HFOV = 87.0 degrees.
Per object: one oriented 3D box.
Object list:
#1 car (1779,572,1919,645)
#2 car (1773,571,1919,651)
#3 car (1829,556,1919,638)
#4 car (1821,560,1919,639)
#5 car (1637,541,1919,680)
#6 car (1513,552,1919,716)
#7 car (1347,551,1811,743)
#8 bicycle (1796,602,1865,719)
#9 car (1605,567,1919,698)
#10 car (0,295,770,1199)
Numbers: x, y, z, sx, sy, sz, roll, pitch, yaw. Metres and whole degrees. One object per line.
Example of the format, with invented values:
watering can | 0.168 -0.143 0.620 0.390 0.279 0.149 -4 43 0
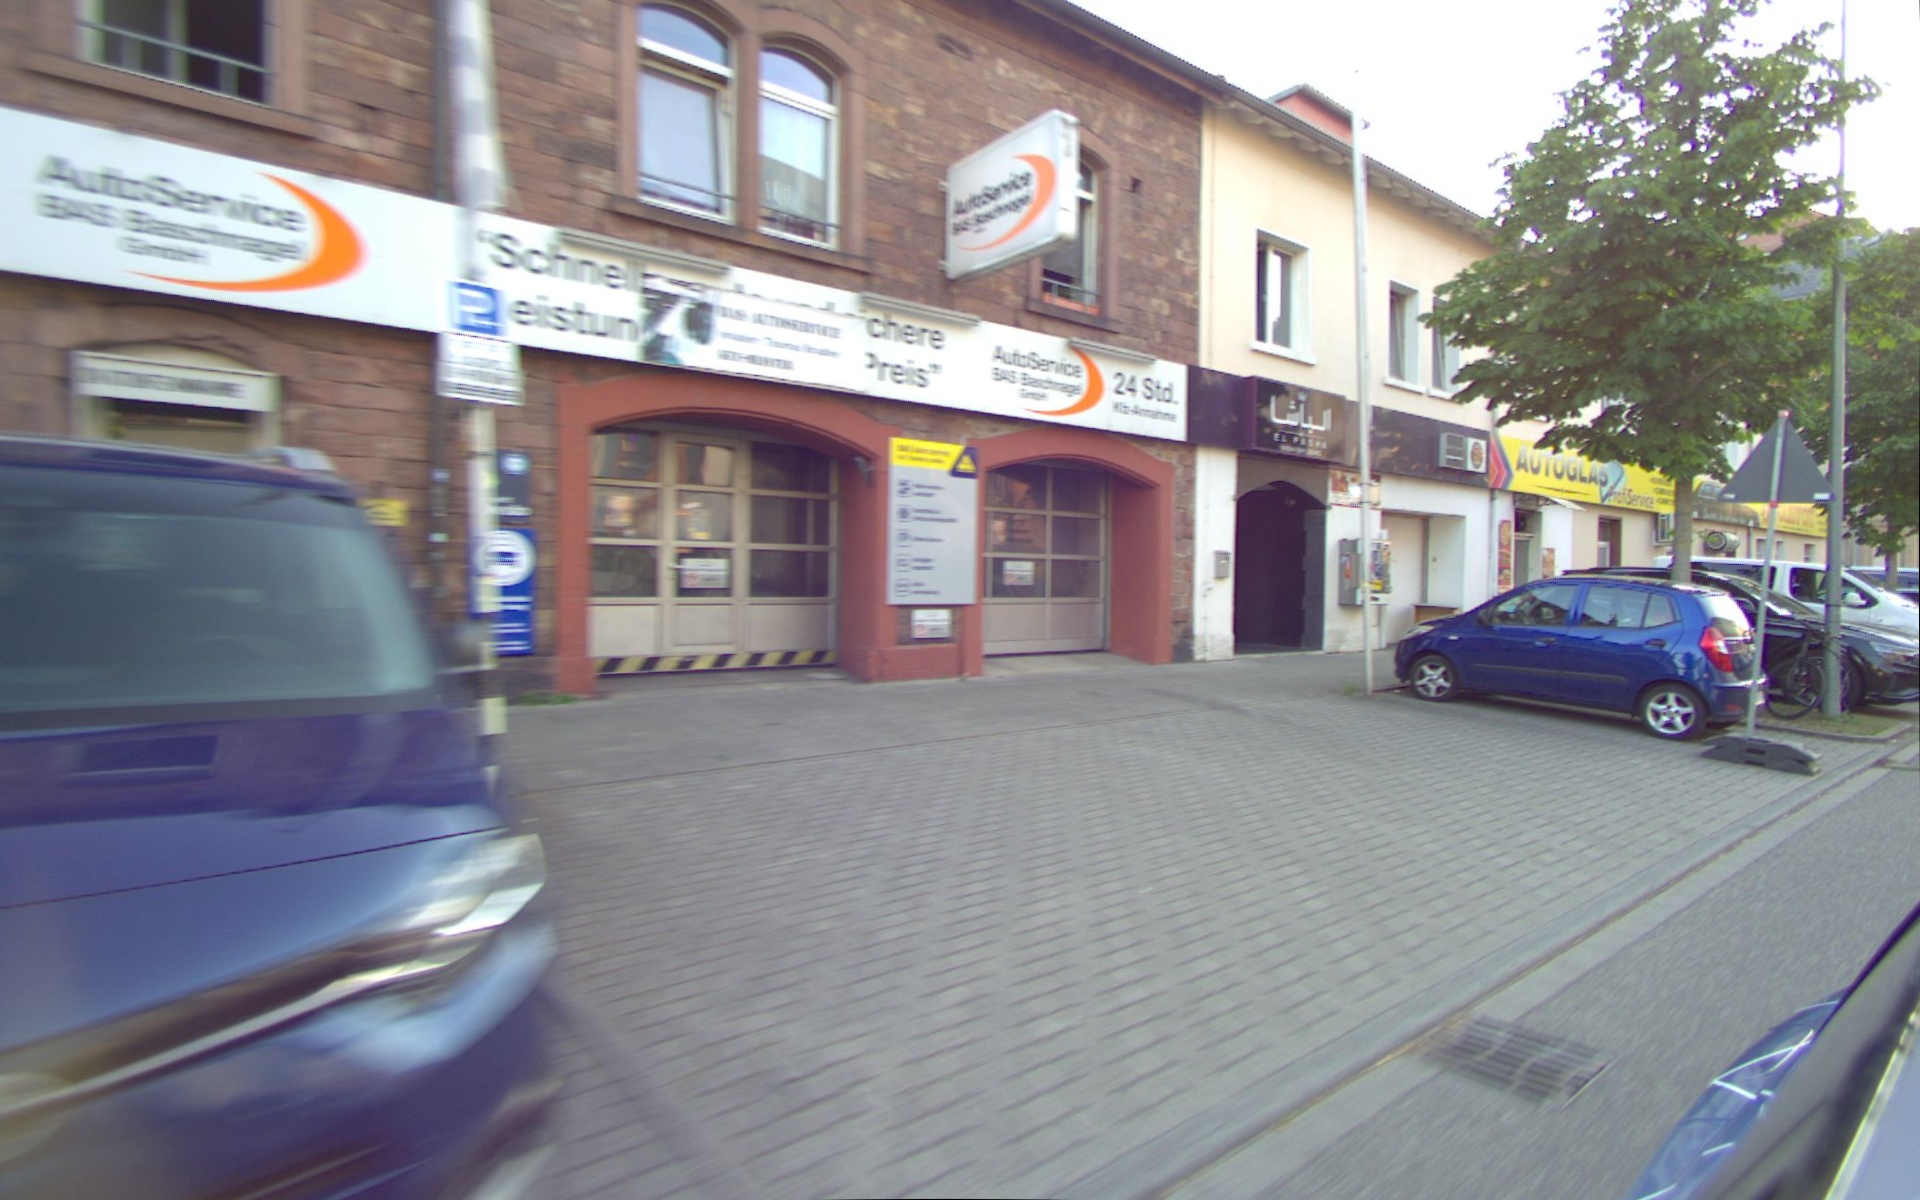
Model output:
car | 22.042 0.223 23.181 1.964 1.514 4.735 0 4 -38
car | 19.942 0.239 21.554 1.651 1.514 3.796 0 4 -39
car | 26.244 -0.091 26.454 2.110 2.127 4.979 -1 2 -34
car | 24.305 0.027 24.934 1.962 1.880 4.308 0 3 -35
car | 14.491 0.101 17.070 1.974 1.883 4.605 0 6 -36
car | 10.517 0.311 13.852 1.963 1.650 4.712 0 5 -37
car | 6.720 0.348 11.371 1.811 1.564 4.000 0 5 -38
bicycle | 9.835 0.643 11.417 1.731 1.207 0.309 -1 1 -40
car | 12.654 0.389 15.700 1.857 1.513 4.002 0 5 -36
car | -2.652 0.348 2.987 1.981 1.775 4.800 1 4 -40
